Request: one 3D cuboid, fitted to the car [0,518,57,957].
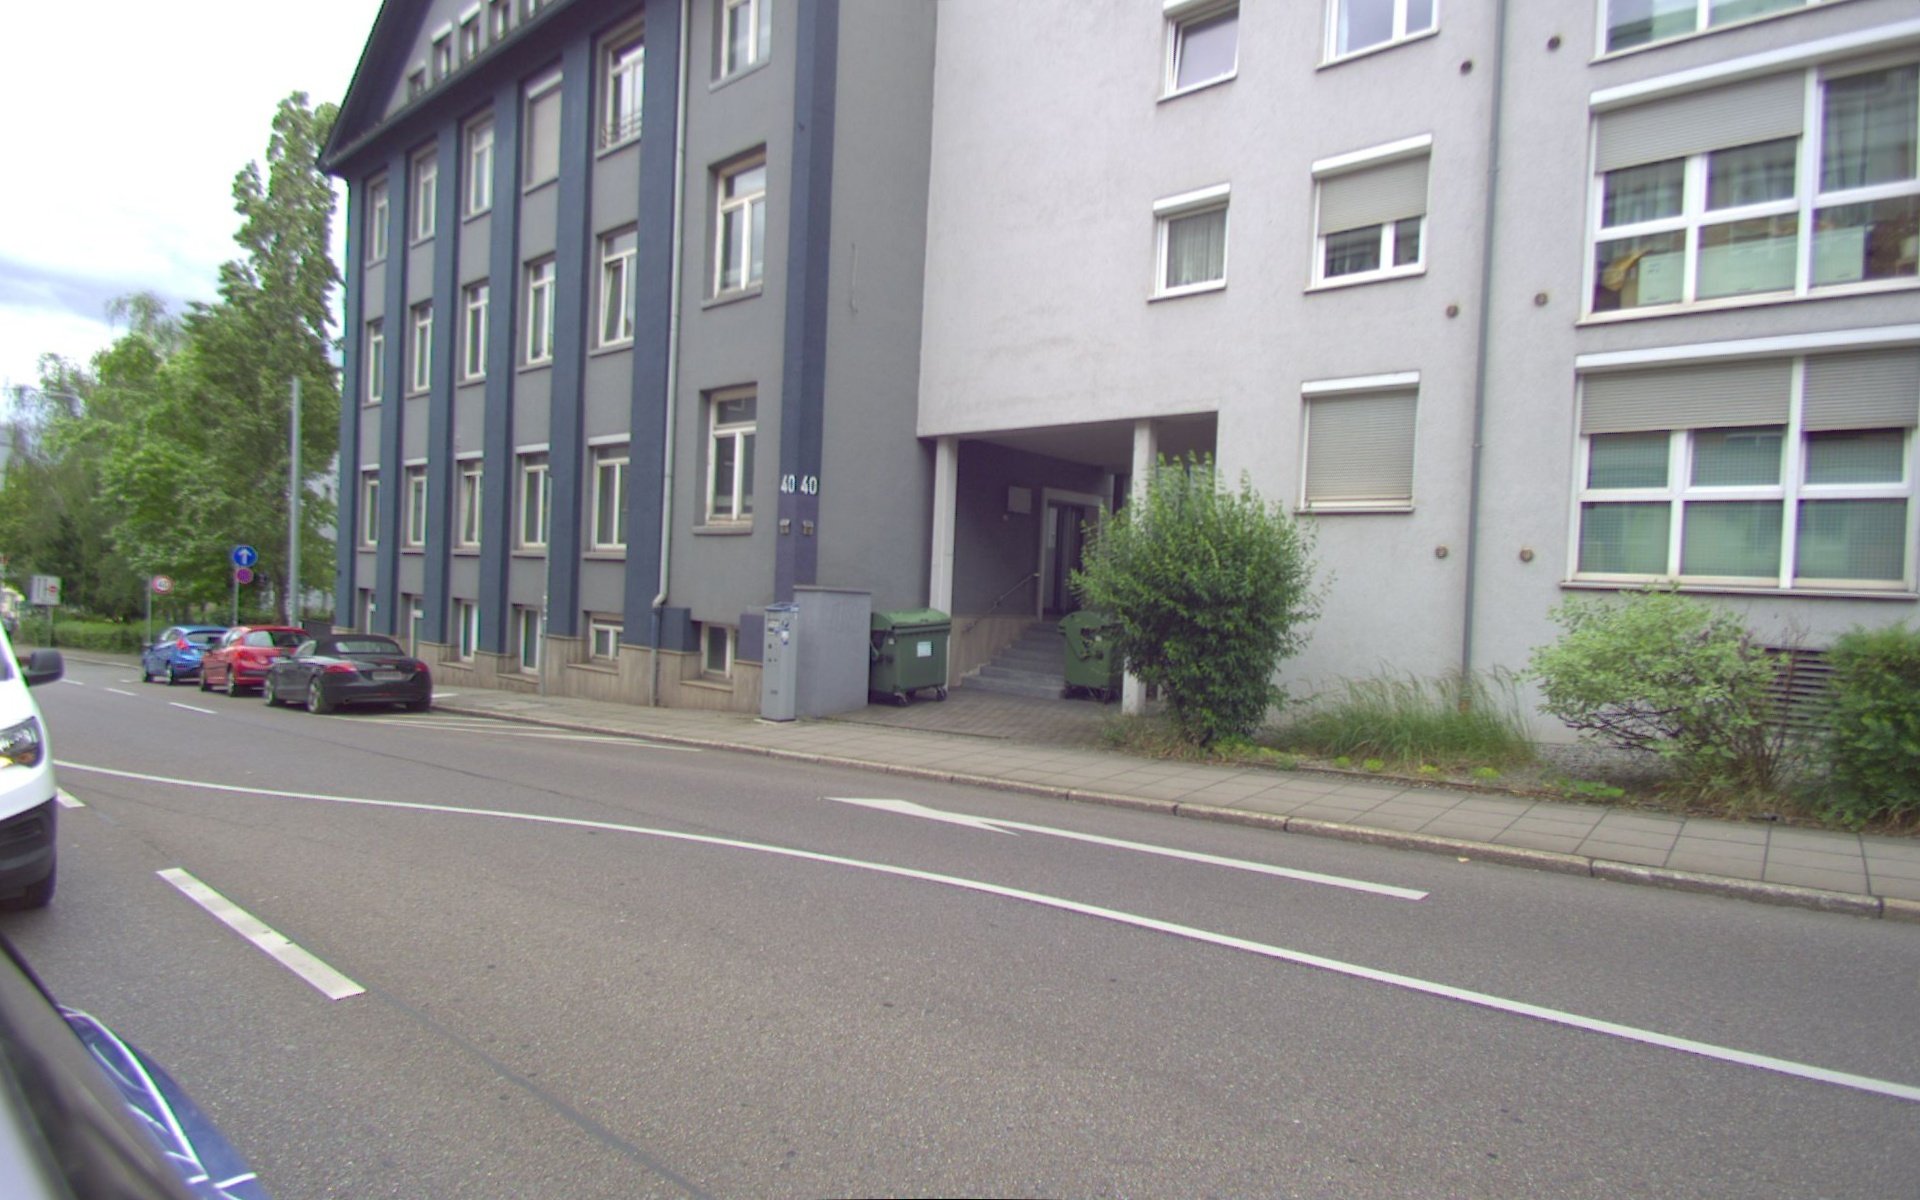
[{"bbox_3d":[-6.107,0.621,5.197,3.998,1.901,1.716,-1,0,41],"label":"car"}]

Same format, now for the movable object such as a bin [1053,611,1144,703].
[{"bbox_3d":[2.270,0.904,16.594,1.078,1.427,1.026,-1,0,41],"label":"movable object such as a bin"}]

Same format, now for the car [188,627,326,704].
[{"bbox_3d":[-15.344,1.364,22.029,3.727,1.460,1.623,-1,0,41],"label":"car"}]

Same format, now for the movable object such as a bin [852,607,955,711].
[{"bbox_3d":[-0.874,0.884,15.741,1.039,1.518,1.213,-1,0,41],"label":"movable object such as a bin"}]

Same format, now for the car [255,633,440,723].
[{"bbox_3d":[-11.024,1.314,18.139,3.727,1.403,1.778,-1,-2,41],"label":"car"}]

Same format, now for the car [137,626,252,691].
[{"bbox_3d":[-19.457,1.430,25.680,3.727,1.460,1.623,-1,0,41],"label":"car"}]
